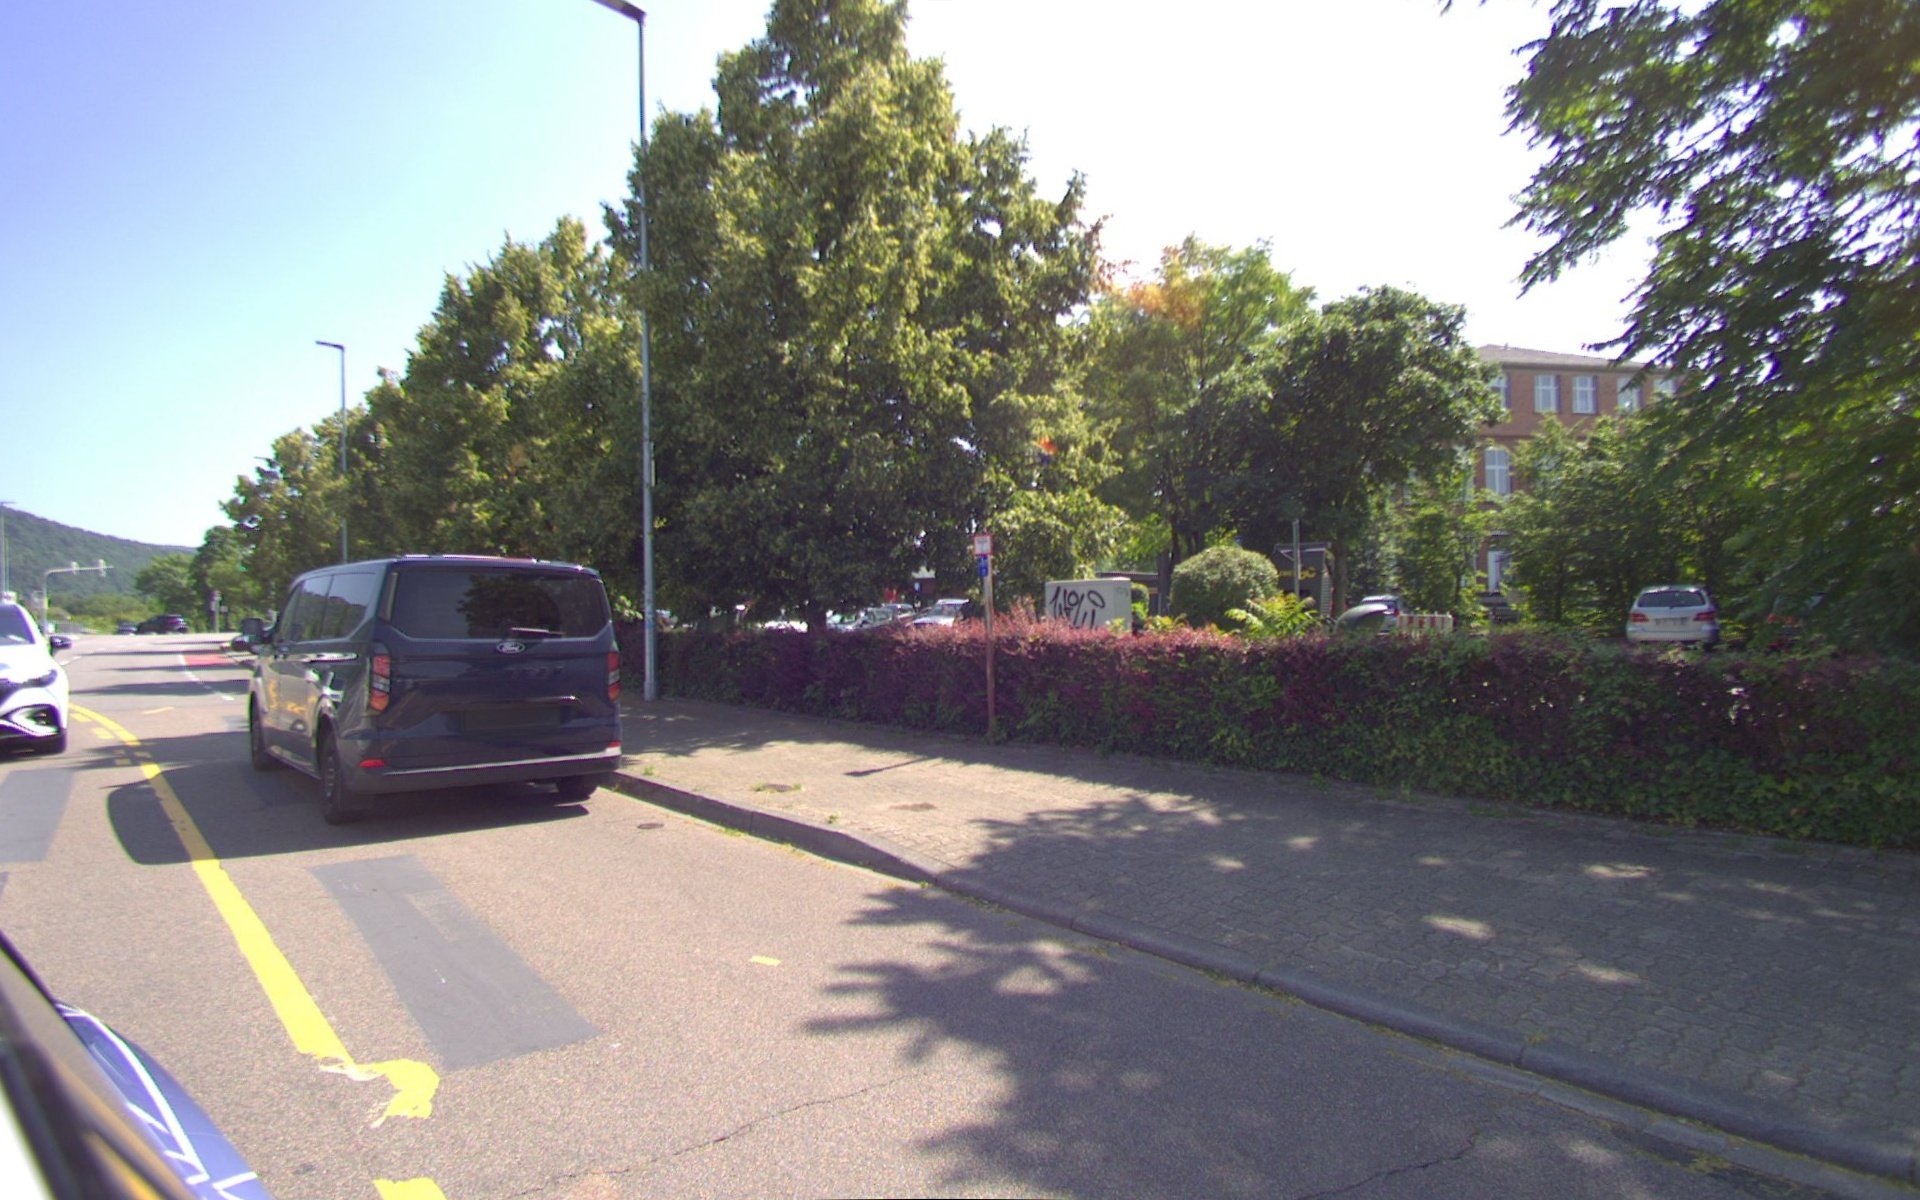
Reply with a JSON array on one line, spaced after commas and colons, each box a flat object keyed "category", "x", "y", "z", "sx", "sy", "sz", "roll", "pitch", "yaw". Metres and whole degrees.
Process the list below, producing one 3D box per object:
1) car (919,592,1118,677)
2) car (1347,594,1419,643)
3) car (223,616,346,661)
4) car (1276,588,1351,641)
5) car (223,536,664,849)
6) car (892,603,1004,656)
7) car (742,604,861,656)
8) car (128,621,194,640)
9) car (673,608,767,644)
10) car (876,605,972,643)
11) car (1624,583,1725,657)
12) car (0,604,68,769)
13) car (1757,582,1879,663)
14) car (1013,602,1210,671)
[{"category": "car", "x": 1.210, "y": 0.758, "z": 22.494, "sx": 1.834, "sy": 1.699, "sz": 4.371, "roll": 2, "pitch": -3, "yaw": -43}, {"category": "car", "x": 14.585, "y": 0.612, "z": 34.800, "sx": 1.767, "sy": 1.487, "sz": 3.959, "roll": -3, "pitch": -1, "yaw": 30}, {"category": "car", "x": -26.866, "y": 1.502, "z": 40.272, "sx": 3.935, "sy": 1.475, "sz": 1.885, "roll": -4, "pitch": 2, "yaw": -37}, {"category": "car", "x": 13.363, "y": 0.516, "z": 38.136, "sx": 1.768, "sy": 1.747, "sz": 3.958, "roll": -4, "pitch": -1, "yaw": 31}, {"category": "car", "x": -4.953, "y": 0.646, "z": 9.168, "sx": 2.150, "sy": 1.983, "sz": 5.451, "roll": 3, "pitch": -3, "yaw": -42}, {"category": "car", "x": -0.326, "y": 0.967, "z": 34.762, "sx": 1.856, "sy": 1.698, "sz": 4.321, "roll": -1, "pitch": -1, "yaw": 31}, {"category": "car", "x": -5.547, "y": 1.022, "z": 35.888, "sx": 1.856, "sy": 1.698, "sz": 4.265, "roll": -1, "pitch": -1, "yaw": 32}, {"category": "car", "x": -69.005, "y": 2.644, "z": 87.400, "sx": 4.477, "sy": 1.657, "sz": 1.994, "roll": 0, "pitch": -1, "yaw": 10}, {"category": "car", "x": -11.056, "y": 1.216, "z": 46.531, "sx": 4.130, "sy": 1.564, "sz": 1.899, "roll": -1, "pitch": -1, "yaw": 33}, {"category": "car", "x": -1.758, "y": 1.147, "z": 48.454, "sx": 4.357, "sy": 1.698, "sz": 1.841, "roll": -1, "pitch": 2, "yaw": 35}, {"category": "car", "x": 17.220, "y": 0.446, "z": 24.326, "sx": 1.772, "sy": 1.584, "sz": 3.949, "roll": -3, "pitch": 0, "yaw": 38}, {"category": "car", "x": -11.775, "y": 0.933, "z": 11.726, "sx": 1.970, "sy": 1.657, "sz": 5.036, "roll": -1, "pitch": -1, "yaw": -44}, {"category": "car", "x": 18.075, "y": 0.434, "z": 21.418, "sx": 1.772, "sy": 1.481, "sz": 3.948, "roll": -3, "pitch": 0, "yaw": 39}, {"category": "car", "x": 3.455, "y": 0.842, "z": 23.717, "sx": 1.834, "sy": 1.464, "sz": 4.371, "roll": 2, "pitch": -2, "yaw": -43}]
